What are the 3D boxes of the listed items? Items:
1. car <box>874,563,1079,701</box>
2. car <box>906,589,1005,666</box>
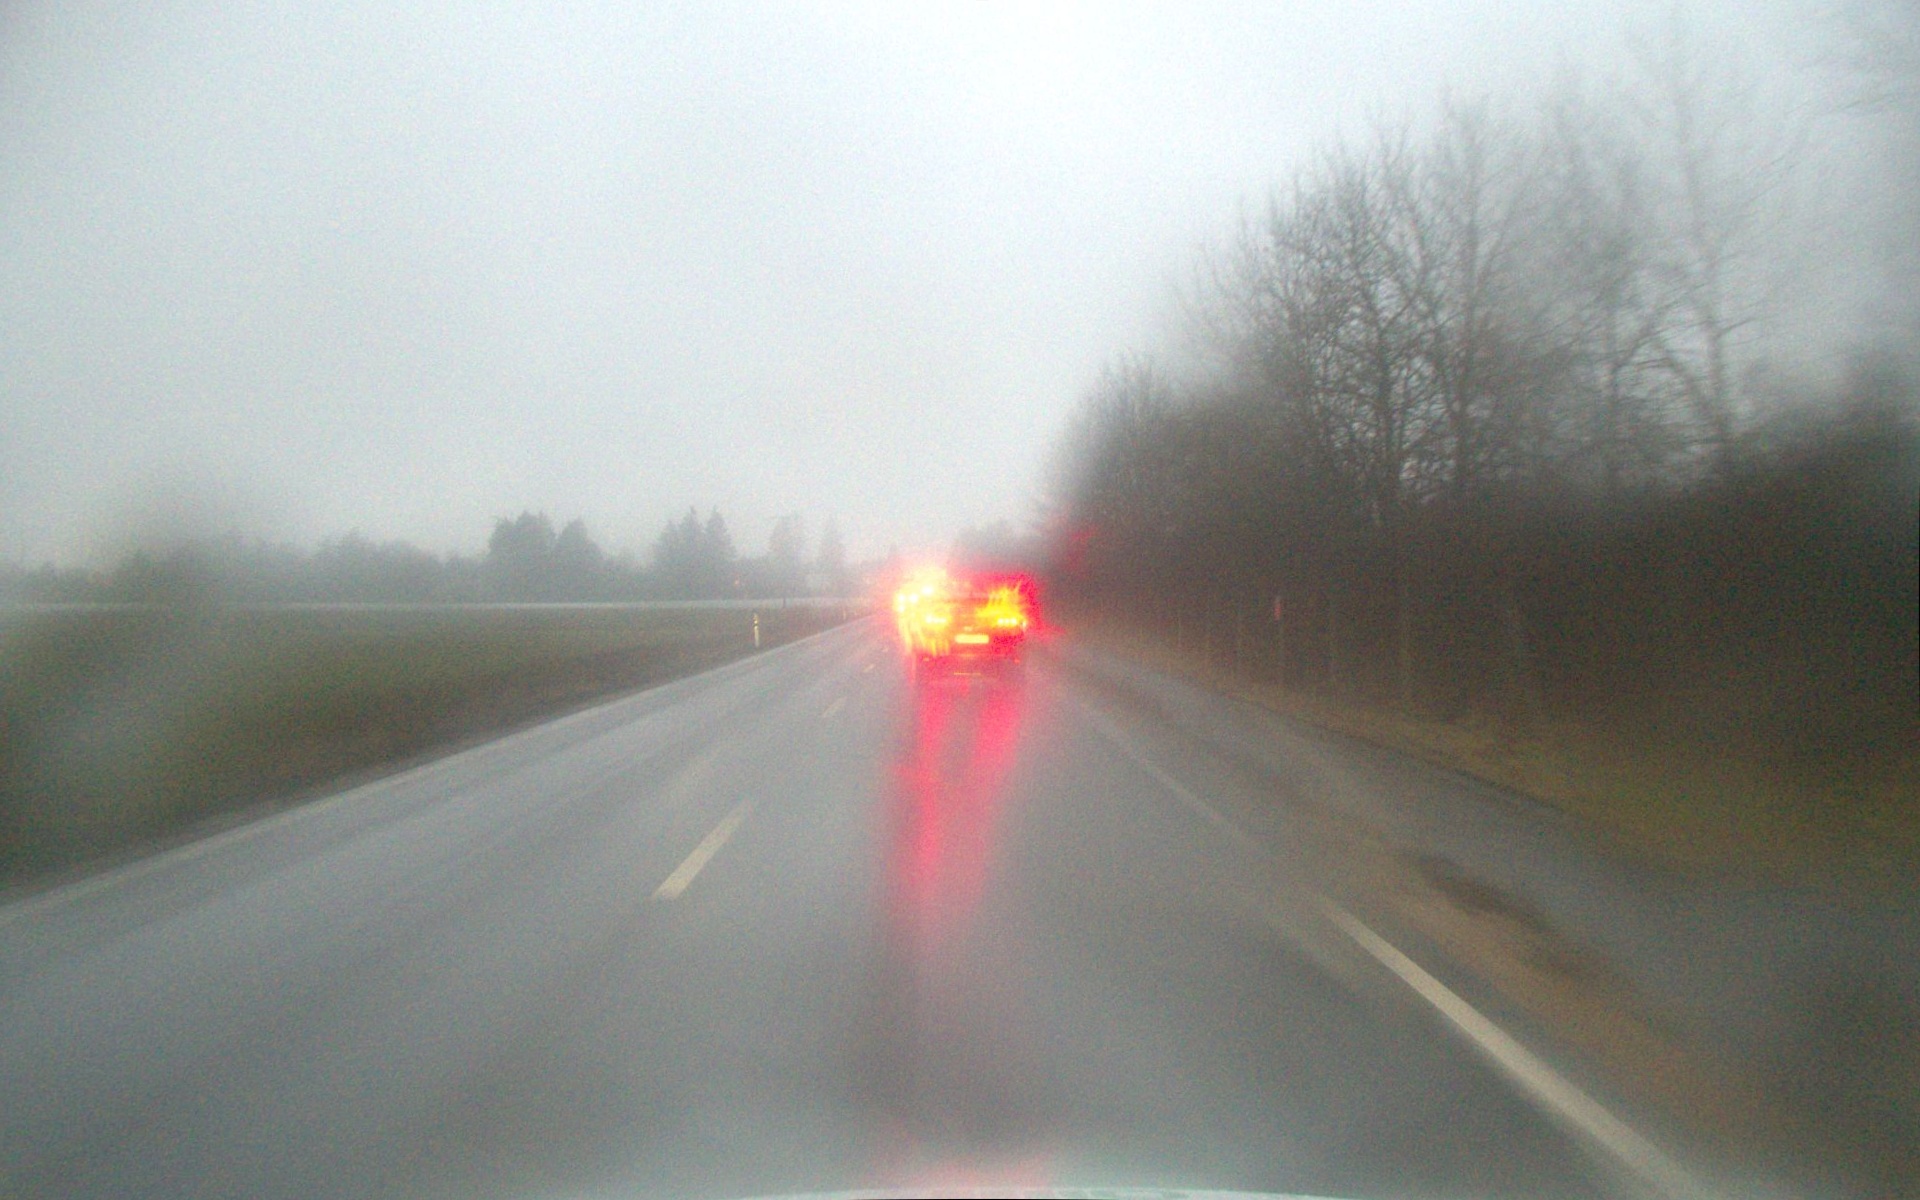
[{"bbox_3d":[0.230,0.460,28.480,3.100,2.071,6.851,0,0,0],"label":"car"},{"bbox_3d":[-0.142,0.735,48.551,2.699,2.071,6.590,0,0,0],"label":"car"}]
